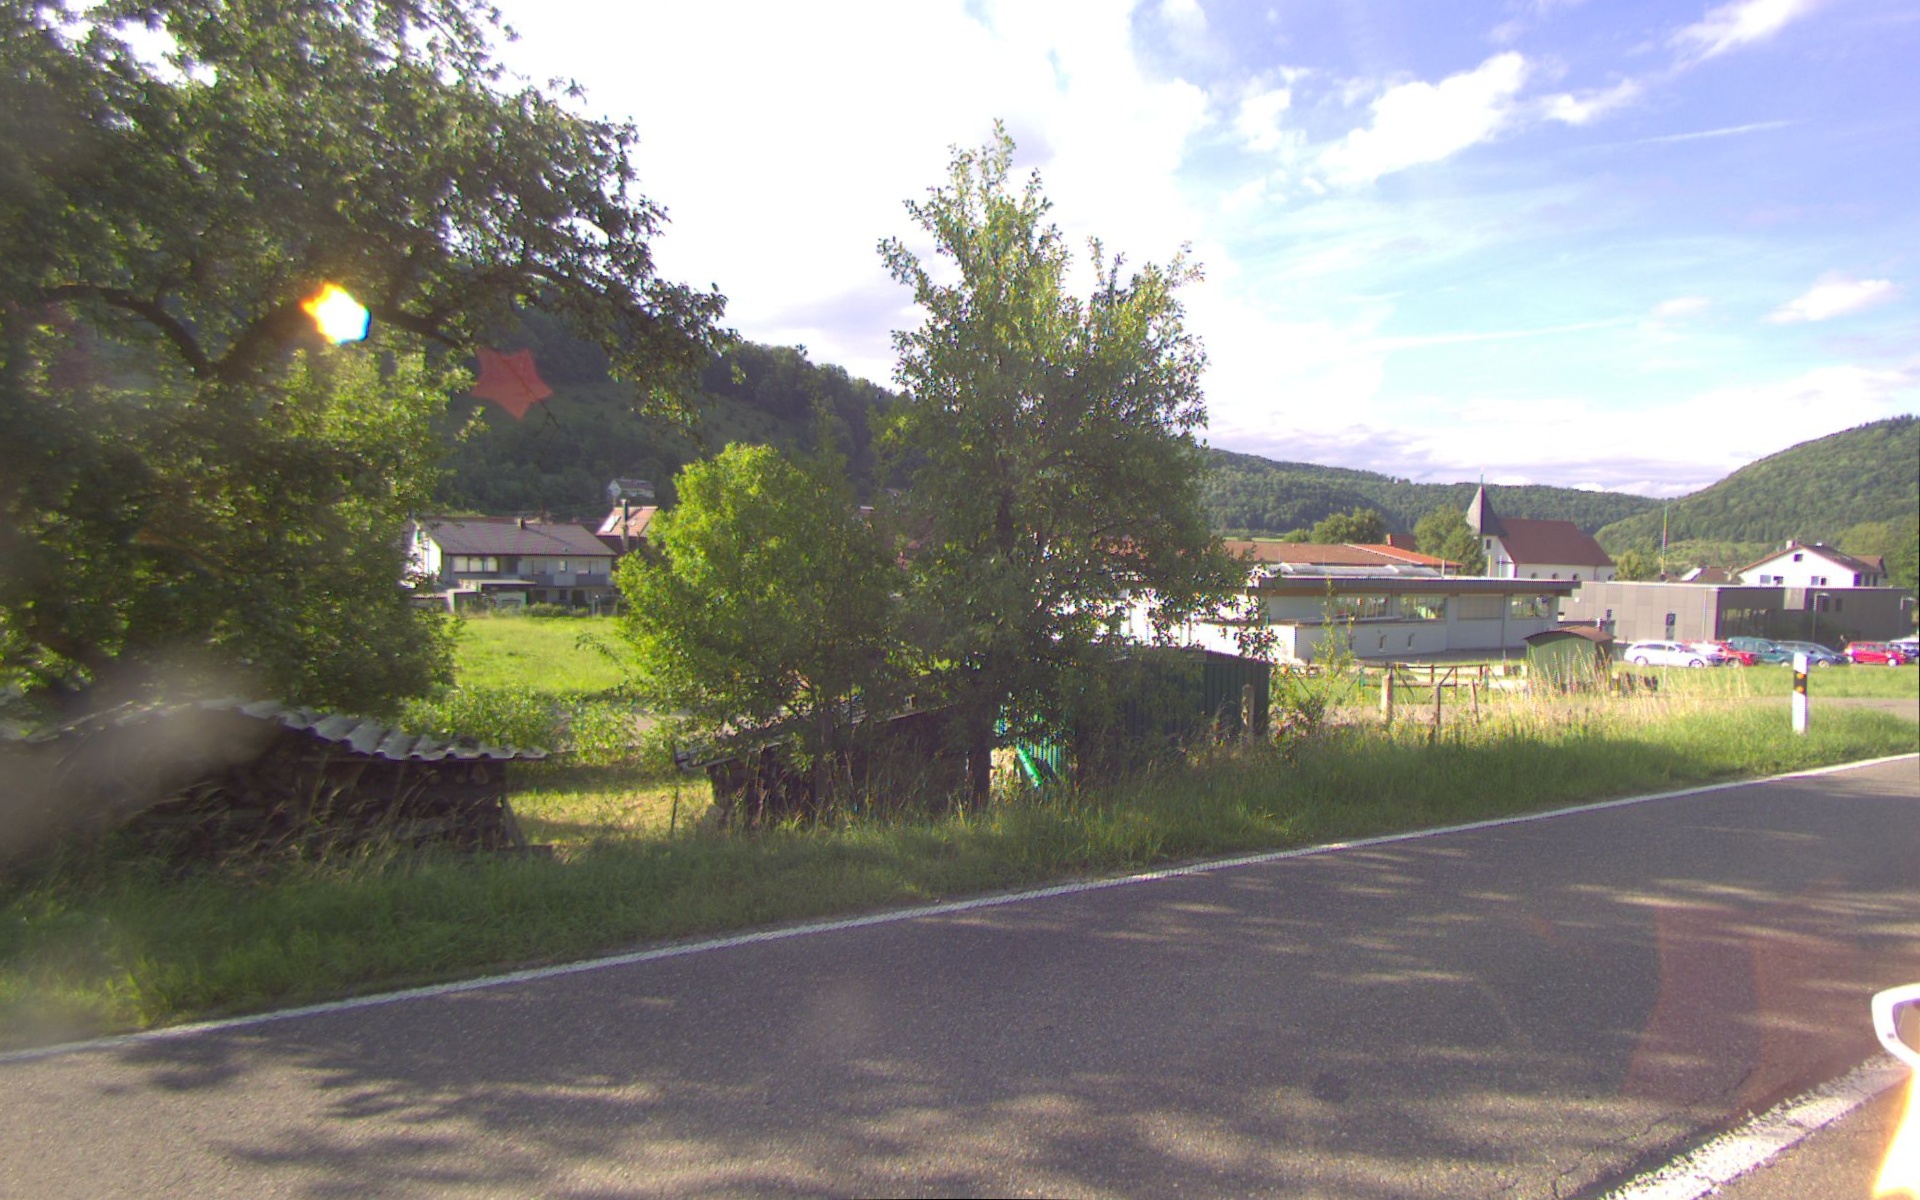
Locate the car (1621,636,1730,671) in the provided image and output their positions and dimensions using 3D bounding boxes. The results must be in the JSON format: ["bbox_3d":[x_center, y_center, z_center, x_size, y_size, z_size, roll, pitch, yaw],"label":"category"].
[{"bbox_3d":[41.182,3.074,57.925,1.978,1.733,4.704,2,0,-32],"label":"car"}]

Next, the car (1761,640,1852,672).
[{"bbox_3d":[52.927,3.463,62.884,1.978,1.733,3.964,2,0,-33],"label":"car"}]

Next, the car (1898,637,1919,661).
[{"bbox_3d":[71.963,3.687,73.893,1.978,1.733,3.964,2,0,-33],"label":"car"}]

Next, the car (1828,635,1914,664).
[{"bbox_3d":[62.004,3.350,68.390,1.978,1.733,3.964,2,0,-33],"label":"car"}]

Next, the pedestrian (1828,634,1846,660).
[{"bbox_3d":[69.431,3.724,79.527,0.962,2.040,0.821,2,0,-31],"label":"pedestrian"}]

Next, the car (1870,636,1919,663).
[{"bbox_3d":[66.303,3.491,69.977,1.978,1.733,3.964,2,0,-33],"label":"car"}]

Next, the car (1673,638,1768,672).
[{"bbox_3d":[44.238,3.171,58.483,1.978,1.733,3.964,2,0,-33],"label":"car"}]

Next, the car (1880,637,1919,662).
[{"bbox_3d":[69.146,3.591,72.282,1.978,1.733,3.964,2,0,-33],"label":"car"}]

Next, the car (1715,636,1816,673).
[{"bbox_3d":[49.067,3.289,61.247,1.978,2.034,4.381,2,0,-32],"label":"car"}]
